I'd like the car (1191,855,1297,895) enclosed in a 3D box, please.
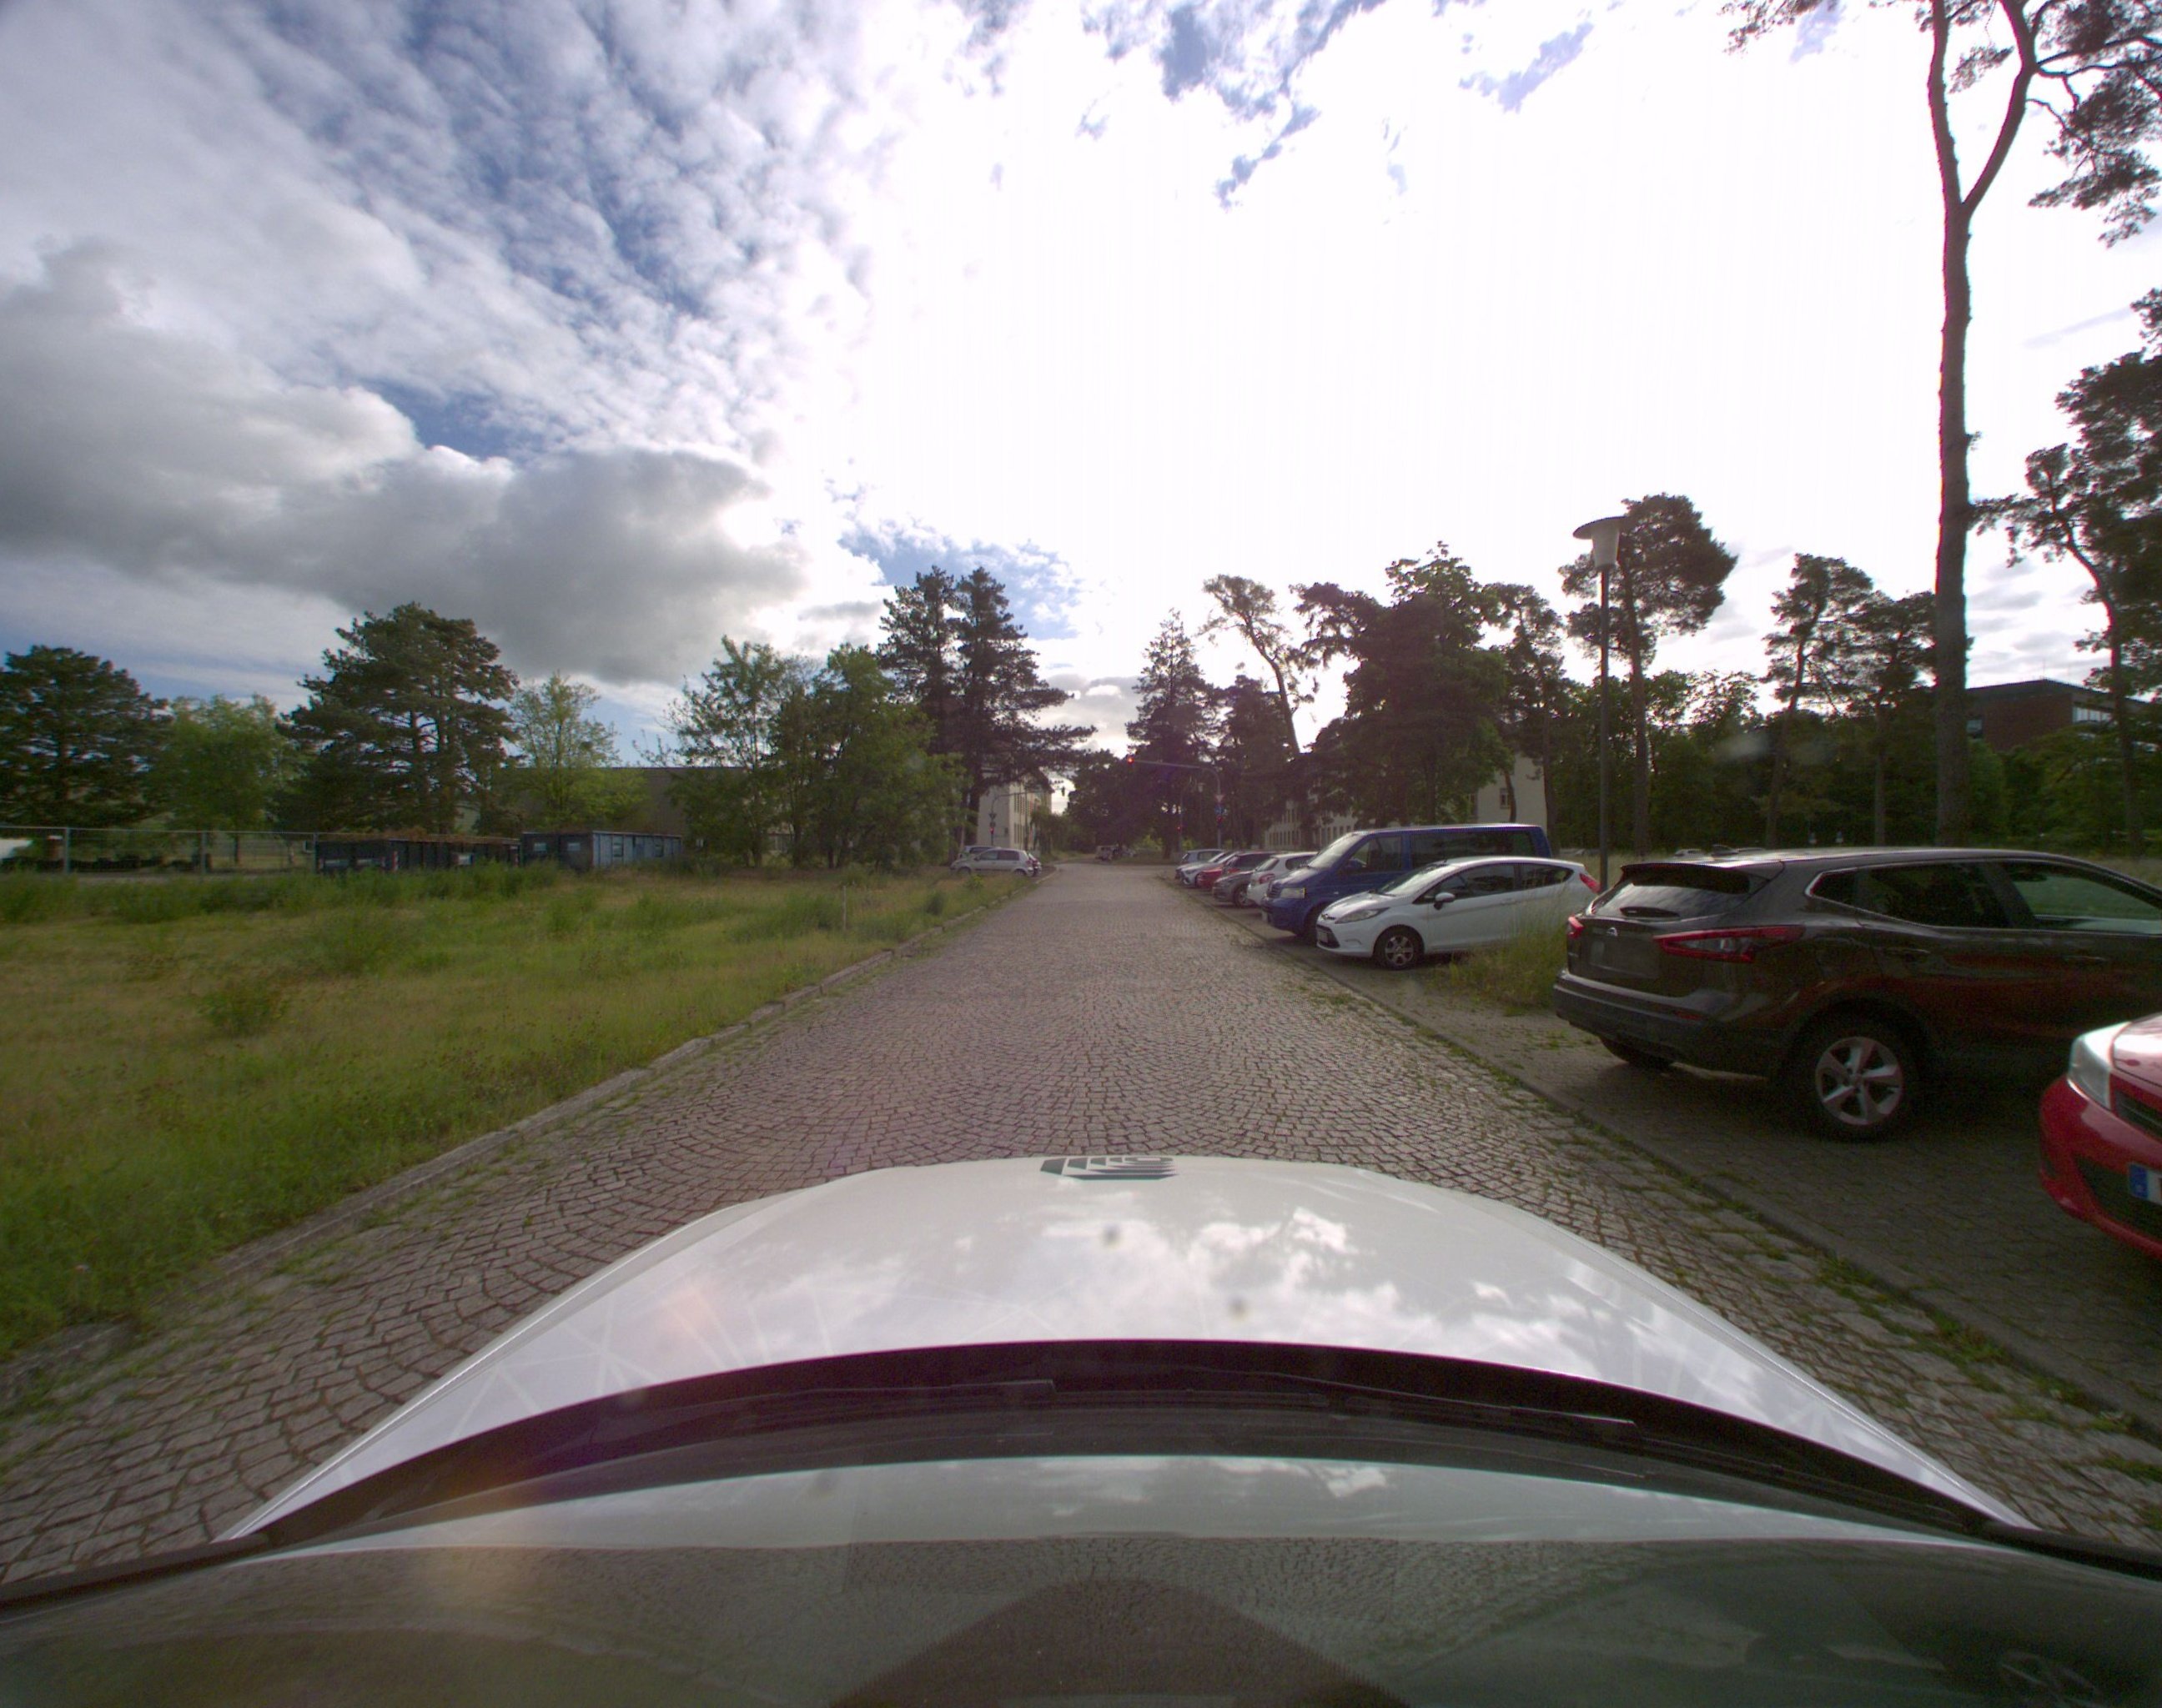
[{"bbox_3d":[5.568,0.698,28.056,3.286,1.267,1.662,0,0,-5],"label":"car"}]

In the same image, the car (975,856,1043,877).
[{"bbox_3d":[-3.942,0.685,45.024,3.664,1.094,1.644,0,1,-5],"label":"car"}]

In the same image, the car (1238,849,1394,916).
[{"bbox_3d":[5.562,0.641,19.529,3.282,1.504,1.663,0,0,-1],"label":"car"}]

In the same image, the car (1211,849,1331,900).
[{"bbox_3d":[5.870,0.594,25.335,3.292,1.504,1.659,0,0,-10],"label":"car"}]

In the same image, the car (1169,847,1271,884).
[{"bbox_3d":[5.982,0.478,35.348,4.115,1.543,1.661,0,0,-5],"label":"car"}]

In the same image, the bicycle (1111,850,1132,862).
[{"bbox_3d":[4.341,0.246,86.944,2.157,1.268,0.811,0,0,-5],"label":"bicycle"}]

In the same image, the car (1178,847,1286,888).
[{"bbox_3d":[5.976,0.523,32.540,3.979,1.543,1.662,0,0,-5],"label":"car"}]

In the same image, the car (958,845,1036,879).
[{"bbox_3d":[-4.417,0.407,42.843,3.981,1.750,1.923,0,0,-6],"label":"car"}]

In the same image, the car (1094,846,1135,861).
[{"bbox_3d":[4.274,-0.072,104.776,5.049,2.013,1.994,0,0,-9],"label":"car"}]

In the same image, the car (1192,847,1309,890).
[{"bbox_3d":[6.251,0.509,30.294,3.979,1.543,1.661,0,0,-5],"label":"car"}]

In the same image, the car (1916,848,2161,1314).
[{"bbox_3d":[5.522,0.739,2.578,3.972,1.518,1.739,0,0,1],"label":"car"}]

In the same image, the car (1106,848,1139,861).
[{"bbox_3d":[5.144,0.061,101.484,3.980,1.644,1.997,0,0,-5],"label":"car"}]

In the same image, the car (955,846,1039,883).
[{"bbox_3d":[-4.068,0.477,39.752,3.980,1.706,1.997,0,0,-5],"label":"car"}]

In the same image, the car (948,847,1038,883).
[{"bbox_3d":[-3.977,0.482,37.288,3.980,1.552,1.997,0,0,-5],"label":"car"}]

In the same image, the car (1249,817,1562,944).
[{"bbox_3d":[5.464,0.414,14.109,4.768,2.039,1.737,0,0,-1],"label":"car"}]

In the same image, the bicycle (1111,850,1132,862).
[{"bbox_3d":[4.353,0.249,87.531,2.157,1.268,0.811,0,0,-5],"label":"bicycle"}]

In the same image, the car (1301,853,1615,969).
[{"bbox_3d":[5.237,0.749,11.623,3.712,1.424,1.654,-2,0,-2],"label":"car"}]

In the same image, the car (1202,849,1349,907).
[{"bbox_3d":[5.318,0.625,22.464,3.597,1.506,1.659,0,0,-10],"label":"car"}]

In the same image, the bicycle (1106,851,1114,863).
[{"bbox_3d":[2.984,0.304,83.204,0.806,1.268,1.974,0,0,3],"label":"bicycle"}]

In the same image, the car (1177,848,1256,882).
[{"bbox_3d":[6.282,0.485,37.915,3.383,1.543,1.389,0,0,-5],"label":"car"}]

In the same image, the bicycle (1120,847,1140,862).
[{"bbox_3d":[5.301,0.093,88.227,2.157,1.615,0.811,0,0,-5],"label":"bicycle"}]

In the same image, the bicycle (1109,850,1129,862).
[{"bbox_3d":[4.151,0.251,88.748,2.157,1.268,0.811,0,0,-5],"label":"bicycle"}]

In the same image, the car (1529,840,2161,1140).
[{"bbox_3d":[5.288,0.712,5.185,3.937,1.580,1.762,0,0,0],"label":"car"}]
